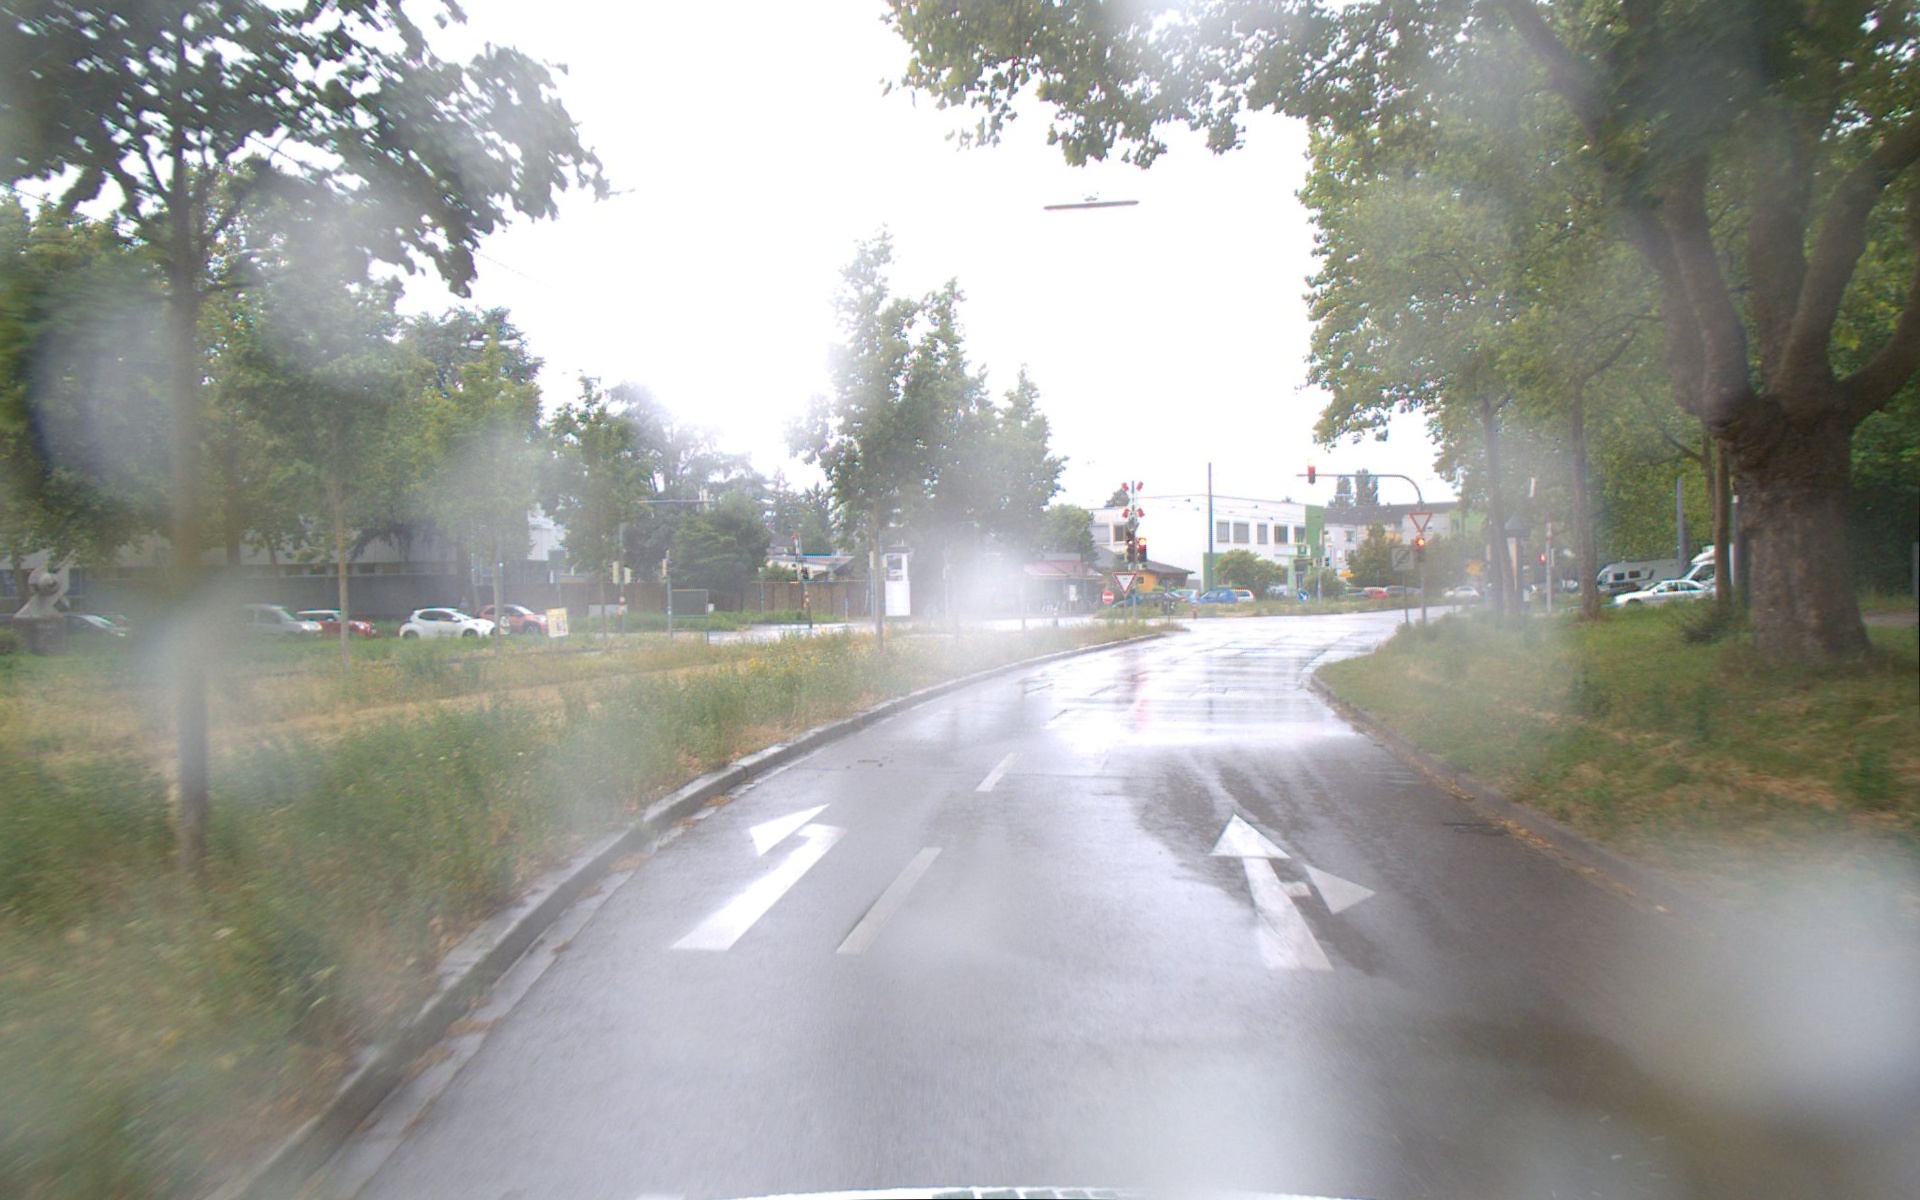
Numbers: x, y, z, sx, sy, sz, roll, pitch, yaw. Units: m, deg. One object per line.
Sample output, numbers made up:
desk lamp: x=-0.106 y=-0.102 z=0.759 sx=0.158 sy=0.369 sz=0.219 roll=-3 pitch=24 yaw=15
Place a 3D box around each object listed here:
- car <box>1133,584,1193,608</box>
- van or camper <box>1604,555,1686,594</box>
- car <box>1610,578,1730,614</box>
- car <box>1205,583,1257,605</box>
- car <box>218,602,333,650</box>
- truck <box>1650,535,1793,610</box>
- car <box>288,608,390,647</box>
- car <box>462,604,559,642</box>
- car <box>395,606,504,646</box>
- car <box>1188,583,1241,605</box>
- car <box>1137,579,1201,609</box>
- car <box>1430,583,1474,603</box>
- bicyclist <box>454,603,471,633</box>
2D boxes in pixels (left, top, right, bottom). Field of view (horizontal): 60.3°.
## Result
car: x=13.578 y=-0.268 z=110.606 sx=3.671 sy=1.467 sz=1.763 roll=-2 pitch=0 yaw=18
van or camper: x=49.412 y=-1.886 z=119.365 sx=5.129 sy=2.744 sz=2.237 roll=1 pitch=1 yaw=34
car: x=30.101 y=-0.183 z=70.187 sx=4.416 sy=1.414 sz=1.646 roll=-1 pitch=0 yaw=12
car: x=19.807 y=-0.465 z=121.028 sx=3.670 sy=1.467 sz=1.764 roll=-2 pitch=0 yaw=9
car: x=-28.858 y=1.088 z=69.774 sx=4.122 sy=1.827 sz=1.653 roll=-1 pitch=1 yaw=2
truck: x=33.355 y=-1.184 z=72.580 sx=5.351 sy=3.112 sz=1.983 roll=-1 pitch=0 yaw=12
car: x=-27.334 y=1.202 z=72.829 sx=3.827 sy=1.525 sz=1.652 roll=-1 pitch=1 yaw=0
car: x=-19.730 y=0.985 z=72.714 sx=3.738 sy=1.525 sz=1.653 roll=-2 pitch=0 yaw=3
car: x=-21.284 y=1.060 z=69.066 sx=3.980 sy=1.525 sz=1.653 roll=-2 pitch=0 yaw=3
car: x=18.150 y=-0.415 z=118.075 sx=3.670 sy=1.467 sz=1.764 roll=-2 pitch=0 yaw=9
car: x=14.413 y=-0.429 z=113.976 sx=4.050 sy=1.892 sz=1.673 roll=-2 pitch=0 yaw=22
car: x=49.940 y=-0.668 z=168.046 sx=4.046 sy=1.892 sz=1.675 roll=-2 pitch=0 yaw=11
bicyclist: x=-28.371 y=1.021 z=94.342 sx=0.669 sy=1.712 sz=0.642 roll=-2 pitch=-1 yaw=11
